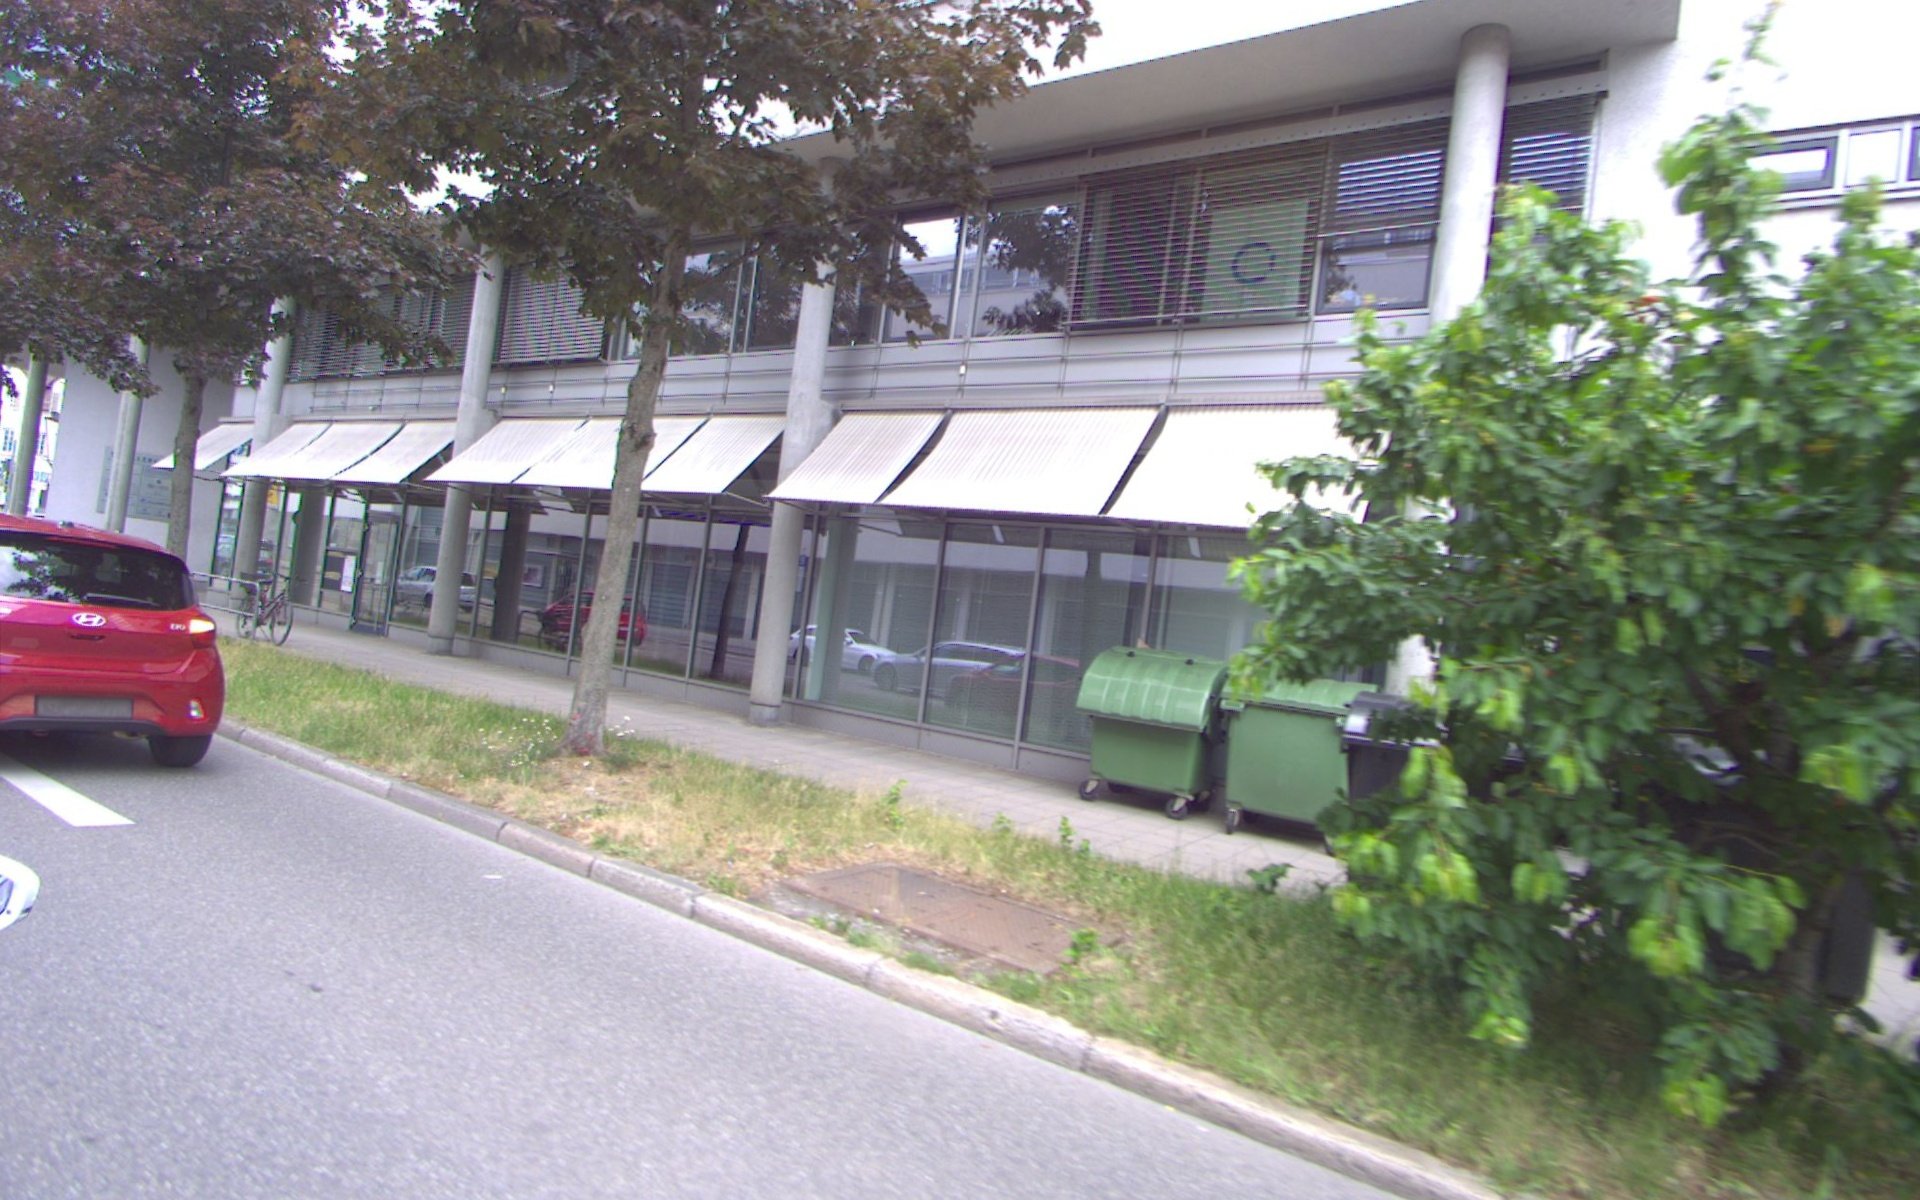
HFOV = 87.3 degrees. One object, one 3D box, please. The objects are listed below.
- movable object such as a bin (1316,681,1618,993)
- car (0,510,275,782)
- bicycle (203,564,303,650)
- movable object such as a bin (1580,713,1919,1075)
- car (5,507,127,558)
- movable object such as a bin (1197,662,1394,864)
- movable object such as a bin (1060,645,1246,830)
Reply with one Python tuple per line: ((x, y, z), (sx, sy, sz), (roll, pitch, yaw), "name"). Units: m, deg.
((3.111, 1.338, 6.203), (1.389, 1.483, 1.129), (6, 0, 31), "movable object such as a bin")
((-6.648, 0.129, 6.836), (3.934, 1.467, 1.703), (6, -4, 32), "car")
((-10.925, 0.095, 15.521), (1.994, 1.098, 0.362), (6, -2, 31), "bicycle")
((4.266, 1.466, 5.517), (1.311, 1.483, 1.099), (7, 0, 31), "movable object such as a bin")
((-41.650, -3.103, 46.930), (1.899, 1.689, 3.791), (7, -2, 34), "car")
((3.004, 1.384, 8.958), (1.311, 1.483, 1.123), (7, 0, 31), "movable object such as a bin")
((1.865, 1.262, 9.651), (1.311, 1.483, 1.099), (7, 0, 31), "movable object such as a bin")
